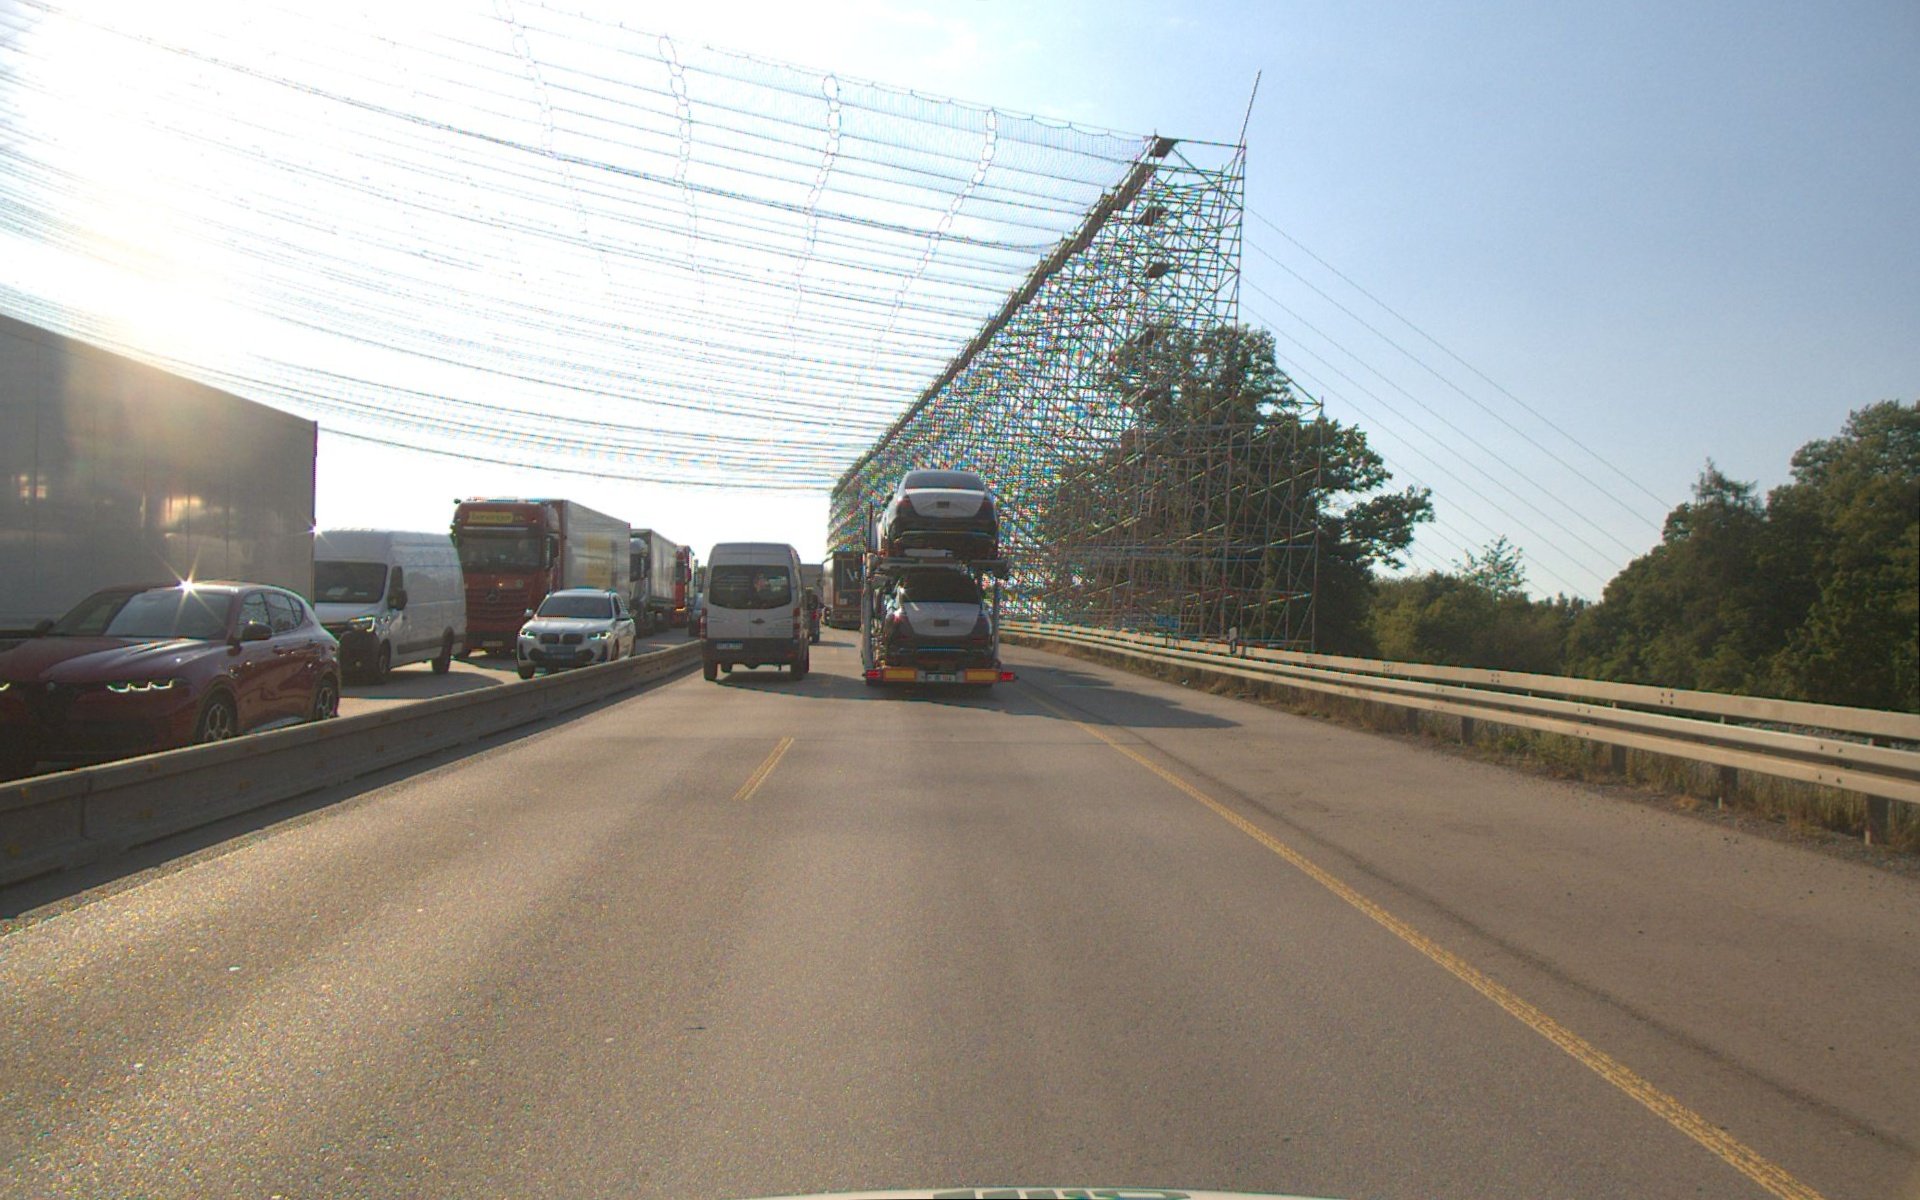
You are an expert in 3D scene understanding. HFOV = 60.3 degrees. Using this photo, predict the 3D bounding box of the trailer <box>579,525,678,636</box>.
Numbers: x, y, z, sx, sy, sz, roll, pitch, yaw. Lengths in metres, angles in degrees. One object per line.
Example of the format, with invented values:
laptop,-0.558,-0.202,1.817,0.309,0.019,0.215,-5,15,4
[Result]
trailer,-13.915,-0.718,70.512,2.745,4.214,13.949,1,0,-6

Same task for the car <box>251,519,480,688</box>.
car,-10.834,0.014,30.822,1.981,2.737,6.946,2,1,-3

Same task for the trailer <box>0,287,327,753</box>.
trailer,-10.288,-0.735,17.337,2.667,4.292,13.739,1,0,-3

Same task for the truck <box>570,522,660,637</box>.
truck,-13.253,-0.744,63.904,2.733,4.214,5.926,1,0,-6

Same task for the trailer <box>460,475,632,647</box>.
trailer,-12.029,-0.972,49.524,2.712,4.409,13.866,1,0,-5

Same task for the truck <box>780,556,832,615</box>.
truck,-12.213,-1.135,131.951,3.614,4.294,13.658,-2,1,-4

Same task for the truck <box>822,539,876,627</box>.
truck,-6.231,-0.923,91.425,2.679,4.462,11.510,2,0,-5

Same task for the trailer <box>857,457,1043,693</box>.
trailer,-0.624,-0.368,34.306,2.812,3.790,14.933,1,0,-4

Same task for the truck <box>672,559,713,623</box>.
truck,-18.860,-0.607,116.289,2.615,4.304,6.088,1,0,-11

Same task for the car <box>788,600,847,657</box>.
car,-5.379,1.052,62.044,1.956,2.049,3.993,1,-1,-8

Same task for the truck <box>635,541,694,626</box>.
truck,-15.863,-0.787,89.572,2.736,4.214,13.779,1,0,-9

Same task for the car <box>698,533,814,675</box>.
car,-4.028,0.094,33.219,1.917,2.667,3.999,0,-1,-1

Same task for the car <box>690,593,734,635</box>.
car,-10.318,0.565,68.642,1.720,1.686,4.852,1,0,-9

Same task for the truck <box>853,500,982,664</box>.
truck,-1.210,-0.392,41.924,2.825,3.767,7.318,1,0,-5

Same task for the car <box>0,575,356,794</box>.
car,-6.985,0.608,14.578,1.850,1.595,4.453,2,1,-3

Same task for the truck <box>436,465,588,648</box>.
truck,-11.479,-1.027,42.894,2.691,4.375,5.927,1,0,-5

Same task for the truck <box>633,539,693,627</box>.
truck,-14.880,-0.801,83.112,2.736,4.214,6.665,1,0,-9

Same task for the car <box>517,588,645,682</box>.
car,-7.582,0.643,33.523,1.833,1.616,4.798,3,1,-5
